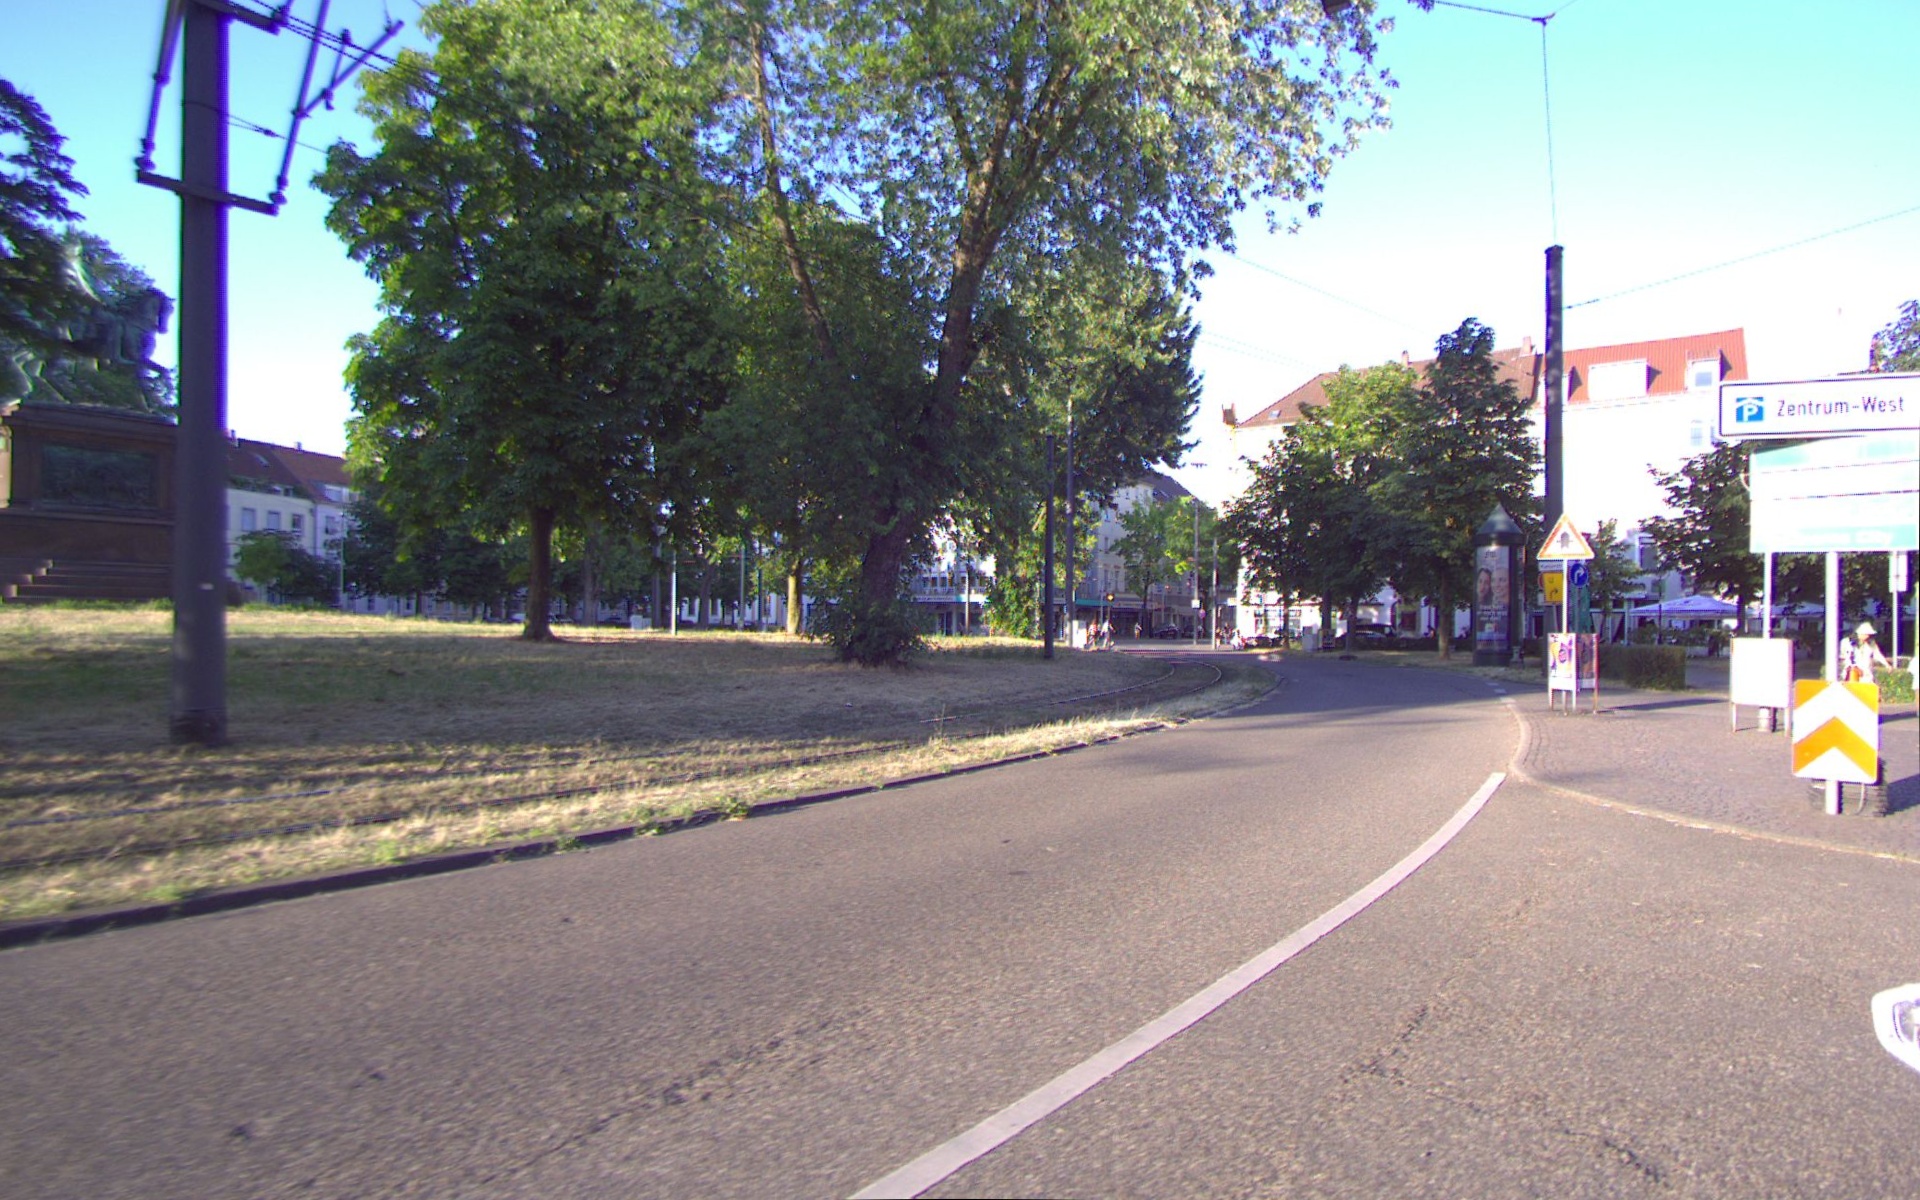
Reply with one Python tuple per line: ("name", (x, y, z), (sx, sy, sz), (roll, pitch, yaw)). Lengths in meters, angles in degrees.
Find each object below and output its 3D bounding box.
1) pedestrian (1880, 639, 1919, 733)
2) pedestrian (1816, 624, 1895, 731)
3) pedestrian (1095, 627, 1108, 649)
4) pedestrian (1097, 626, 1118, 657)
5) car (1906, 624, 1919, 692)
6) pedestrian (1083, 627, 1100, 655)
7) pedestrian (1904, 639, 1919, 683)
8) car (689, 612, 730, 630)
("pedestrian", (14.510, 1.308, 15.283), (0.553, 1.382, 0.614), (1, 0, 22))
("pedestrian", (13.798, 1.175, 15.492), (0.686, 1.580, 0.694), (1, 0, 22))
("pedestrian", (13.156, 3.539, 93.484), (0.879, 1.947, 0.876), (1, 1, 36))
("pedestrian", (9.166, 2.567, 62.595), (0.985, 1.865, 0.857), (-1, 1, -31))
("car", (24.514, 1.407, 22.930), (3.808, 1.603, 1.803), (1, 0, 20))
("pedestrian", (8.323, 2.588, 63.554), (0.814, 1.722, 0.740), (-1, 1, -31))
("pedestrian", (28.673, 1.815, 29.806), (0.734, 1.294, 0.661), (1, 0, 22))
("car", (-25.802, 2.158, 103.428), (3.934, 1.728, 1.994), (0, -1, 36))
